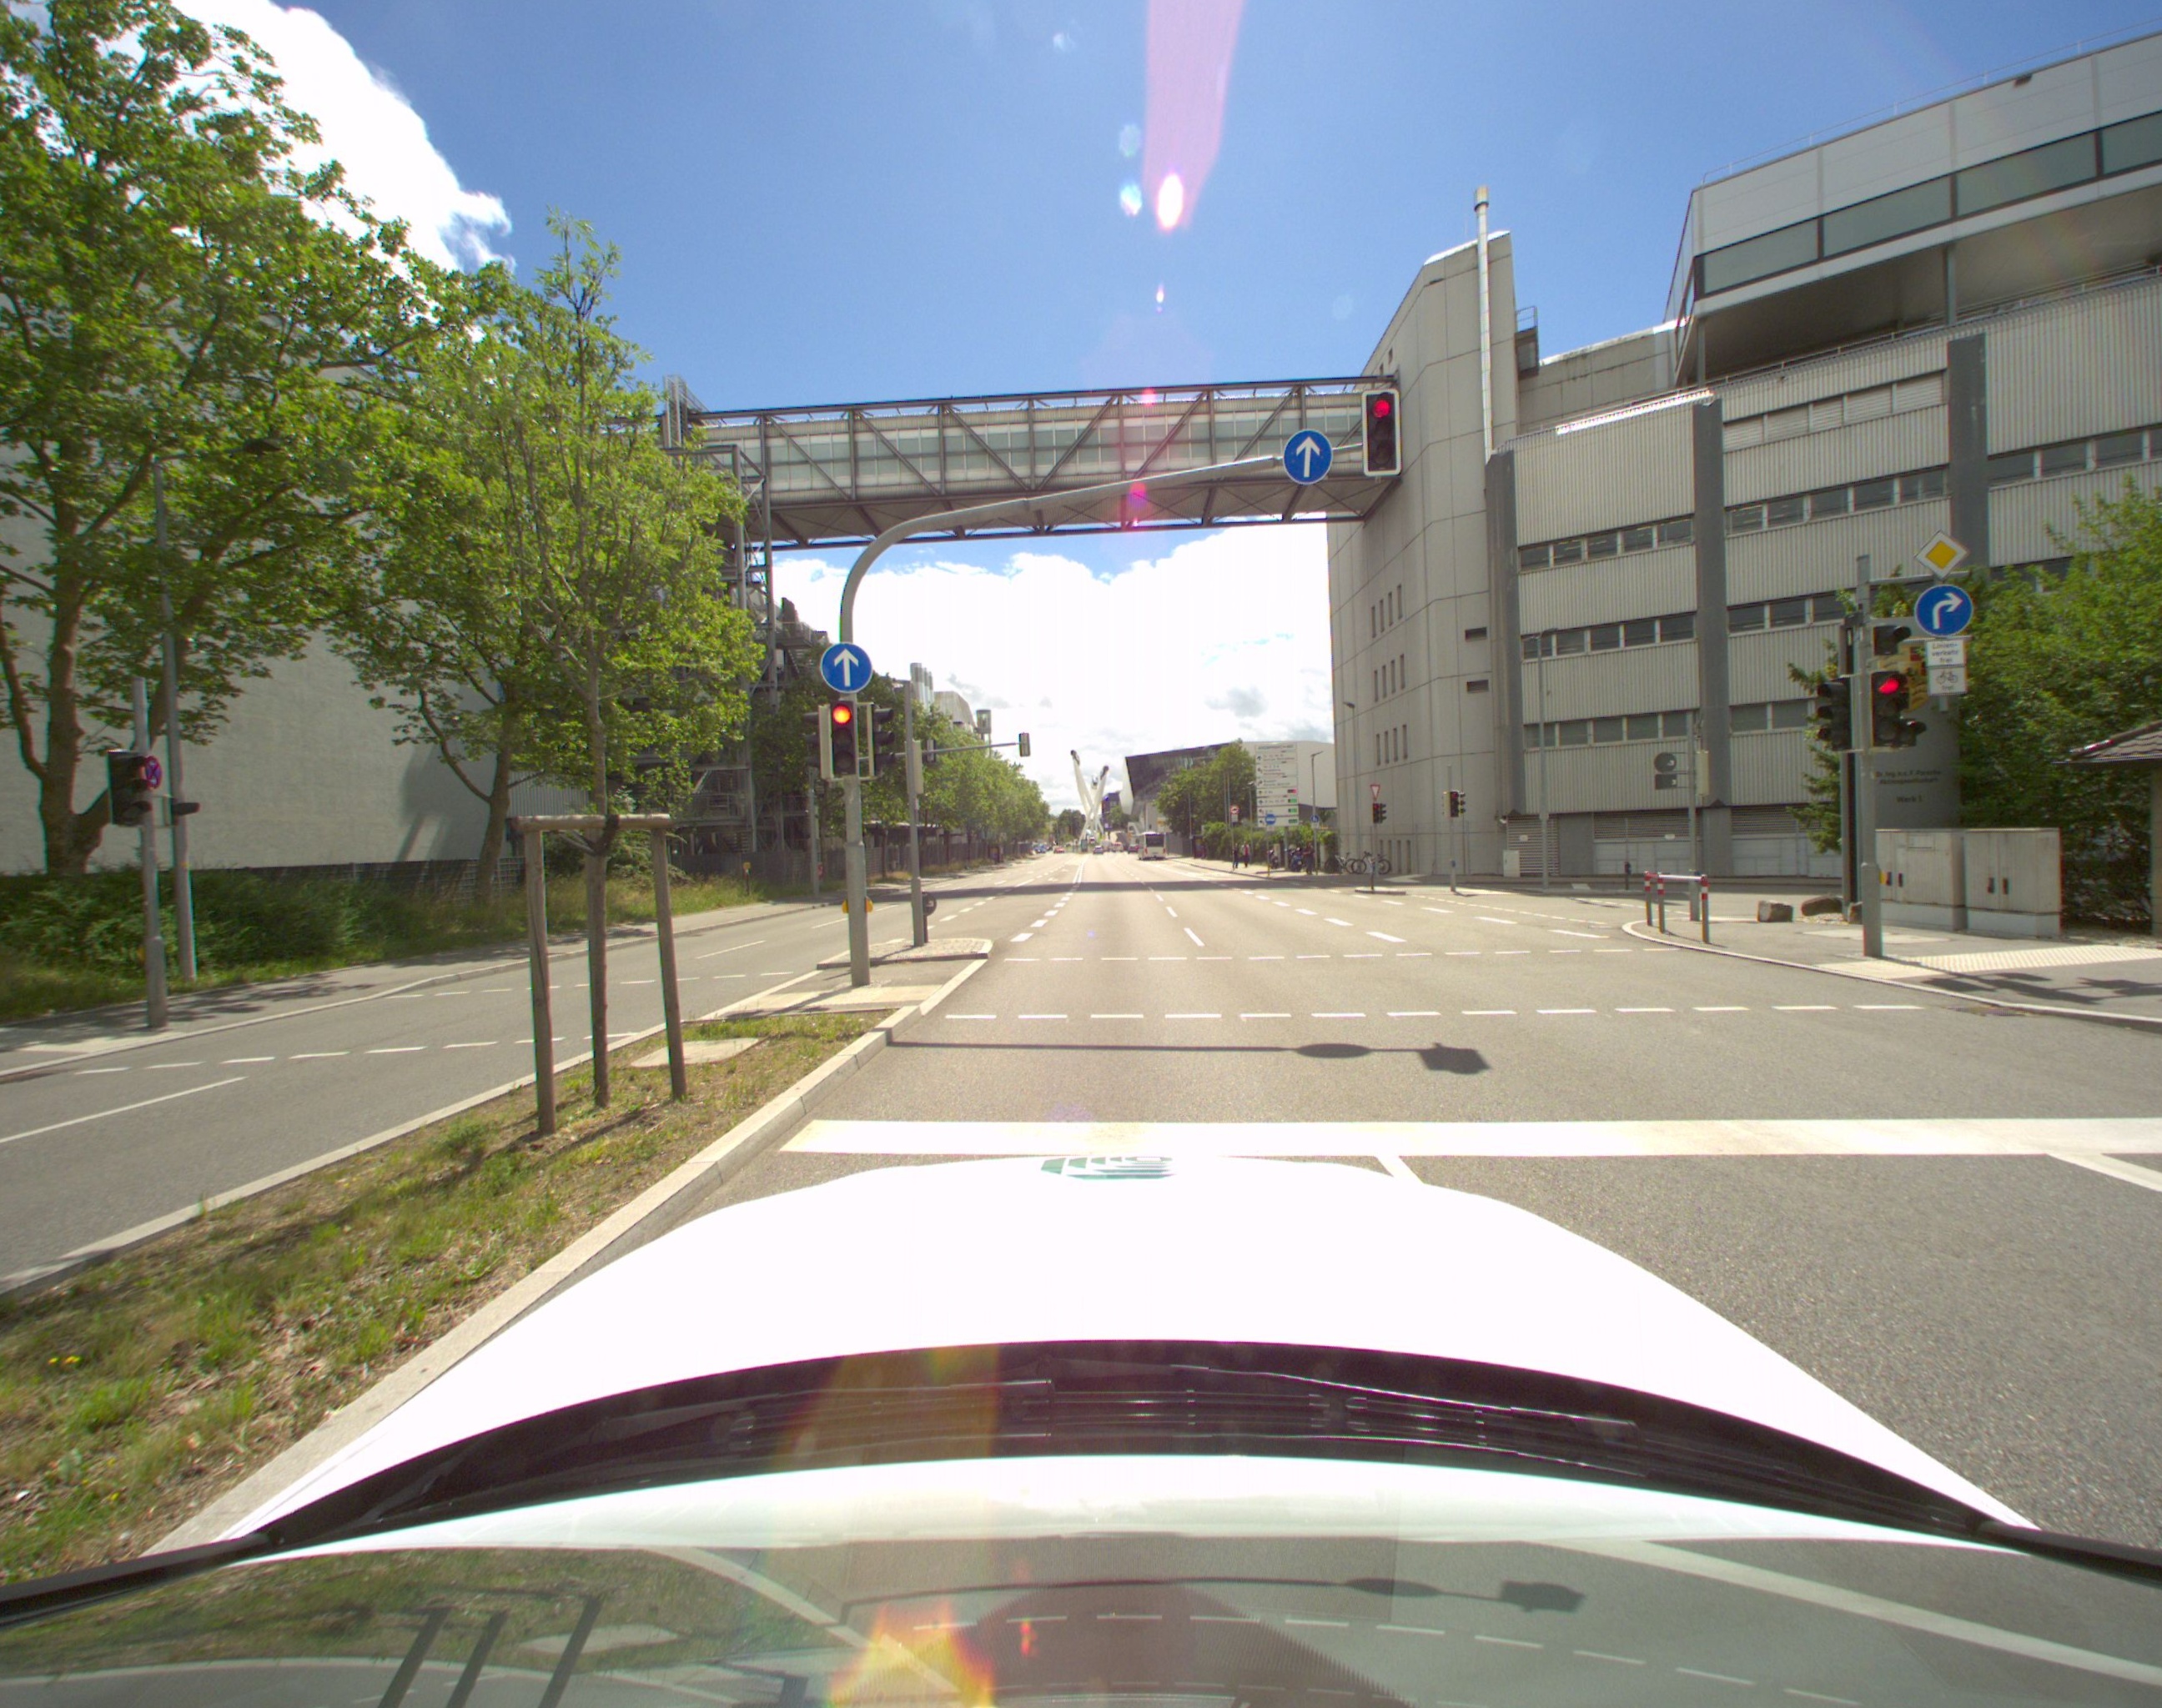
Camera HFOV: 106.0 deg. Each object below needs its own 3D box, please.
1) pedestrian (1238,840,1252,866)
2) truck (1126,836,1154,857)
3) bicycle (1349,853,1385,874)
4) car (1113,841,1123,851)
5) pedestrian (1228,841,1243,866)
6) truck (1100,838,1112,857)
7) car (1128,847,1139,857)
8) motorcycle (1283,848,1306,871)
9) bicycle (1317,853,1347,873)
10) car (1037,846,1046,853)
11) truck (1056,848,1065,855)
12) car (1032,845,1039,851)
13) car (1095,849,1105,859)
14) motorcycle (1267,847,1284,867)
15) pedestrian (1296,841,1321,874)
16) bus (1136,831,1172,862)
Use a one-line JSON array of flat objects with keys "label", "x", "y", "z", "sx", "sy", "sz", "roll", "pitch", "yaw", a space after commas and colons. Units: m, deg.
[{"label": "pedestrian", "x": 11.352, "y": -0.075, "z": 56.397, "sx": 0.817, "sy": 1.741, "sz": 0.637, "roll": -1, "pitch": 0, "yaw": 1}, {"label": "truck", "x": 12.534, "y": -1.579, "z": 171.590, "sx": 3.424, "sy": 4.391, "sz": 9.466, "roll": -1, "pitch": 0, "yaw": 19}, {"label": "bicycle", "x": 13.496, "y": 0.452, "z": 38.497, "sx": 0.399, "sy": 0.937, "sz": 1.913, "roll": -1, "pitch": 0, "yaw": -24}, {"label": "car", "x": 7.563, "y": -1.574, "z": 165.749, "sx": 1.984, "sy": 2.014, "sz": 4.004, "roll": -1, "pitch": -1, "yaw": 4}, {"label": "pedestrian", "x": 10.708, "y": -0.006, "z": 56.428, "sx": 0.817, "sy": 1.707, "sz": 0.881, "roll": -1, "pitch": 0, "yaw": 1}, {"label": "truck", "x": 5.328, "y": -1.384, "z": 172.256, "sx": 2.383, "sy": 3.897, "sz": 6.180, "roll": -1, "pitch": 0, "yaw": 2}, {"label": "car", "x": 9.454, "y": -0.430, "z": 146.368, "sx": 1.732, "sy": 1.741, "sz": 3.693, "roll": -1, "pitch": 0, "yaw": 2}, {"label": "motorcycle", "x": 11.719, "y": 0.303, "z": 44.754, "sx": 0.703, "sy": 1.203, "sz": 2.025, "roll": -3, "pitch": 1, "yaw": 2}, {"label": "bicycle", "x": 12.552, "y": 0.453, "z": 40.809, "sx": 0.398, "sy": 0.937, "sz": 1.917, "roll": -1, "pitch": 0, "yaw": -17}, {"label": "car", "x": -9.566, "y": -1.053, "z": 198.091, "sx": 1.812, "sy": 1.537, "sz": 3.680, "roll": -3, "pitch": 0, "yaw": 2}, {"label": "truck", "x": -4.504, "y": -0.580, "z": 181.441, "sx": 1.582, "sy": 1.537, "sz": 3.668, "roll": -1, "pitch": 0, "yaw": -8}, {"label": "car", "x": -12.662, "y": -1.756, "z": 226.693, "sx": 1.813, "sy": 1.537, "sz": 3.678, "roll": -3, "pitch": 0, "yaw": 0}, {"label": "car", "x": 3.421, "y": -0.079, "z": 145.406, "sx": 1.732, "sy": 1.741, "sz": 3.693, "roll": -1, "pitch": 0, "yaw": 2}, {"label": "motorcycle", "x": 12.543, "y": 0.197, "z": 52.601, "sx": 0.572, "sy": 1.203, "sz": 2.025, "roll": -3, "pitch": 1, "yaw": 2}, {"label": "pedestrian", "x": 11.466, "y": 0.169, "z": 41.019, "sx": 0.839, "sy": 1.624, "sz": 0.962, "roll": -1, "pitch": 0, "yaw": 43}, {"label": "bus", "x": 8.649, "y": -0.885, "z": 98.388, "sx": 3.441, "sy": 3.543, "sz": 10.606, "roll": -1, "pitch": 0, "yaw": 0}]
